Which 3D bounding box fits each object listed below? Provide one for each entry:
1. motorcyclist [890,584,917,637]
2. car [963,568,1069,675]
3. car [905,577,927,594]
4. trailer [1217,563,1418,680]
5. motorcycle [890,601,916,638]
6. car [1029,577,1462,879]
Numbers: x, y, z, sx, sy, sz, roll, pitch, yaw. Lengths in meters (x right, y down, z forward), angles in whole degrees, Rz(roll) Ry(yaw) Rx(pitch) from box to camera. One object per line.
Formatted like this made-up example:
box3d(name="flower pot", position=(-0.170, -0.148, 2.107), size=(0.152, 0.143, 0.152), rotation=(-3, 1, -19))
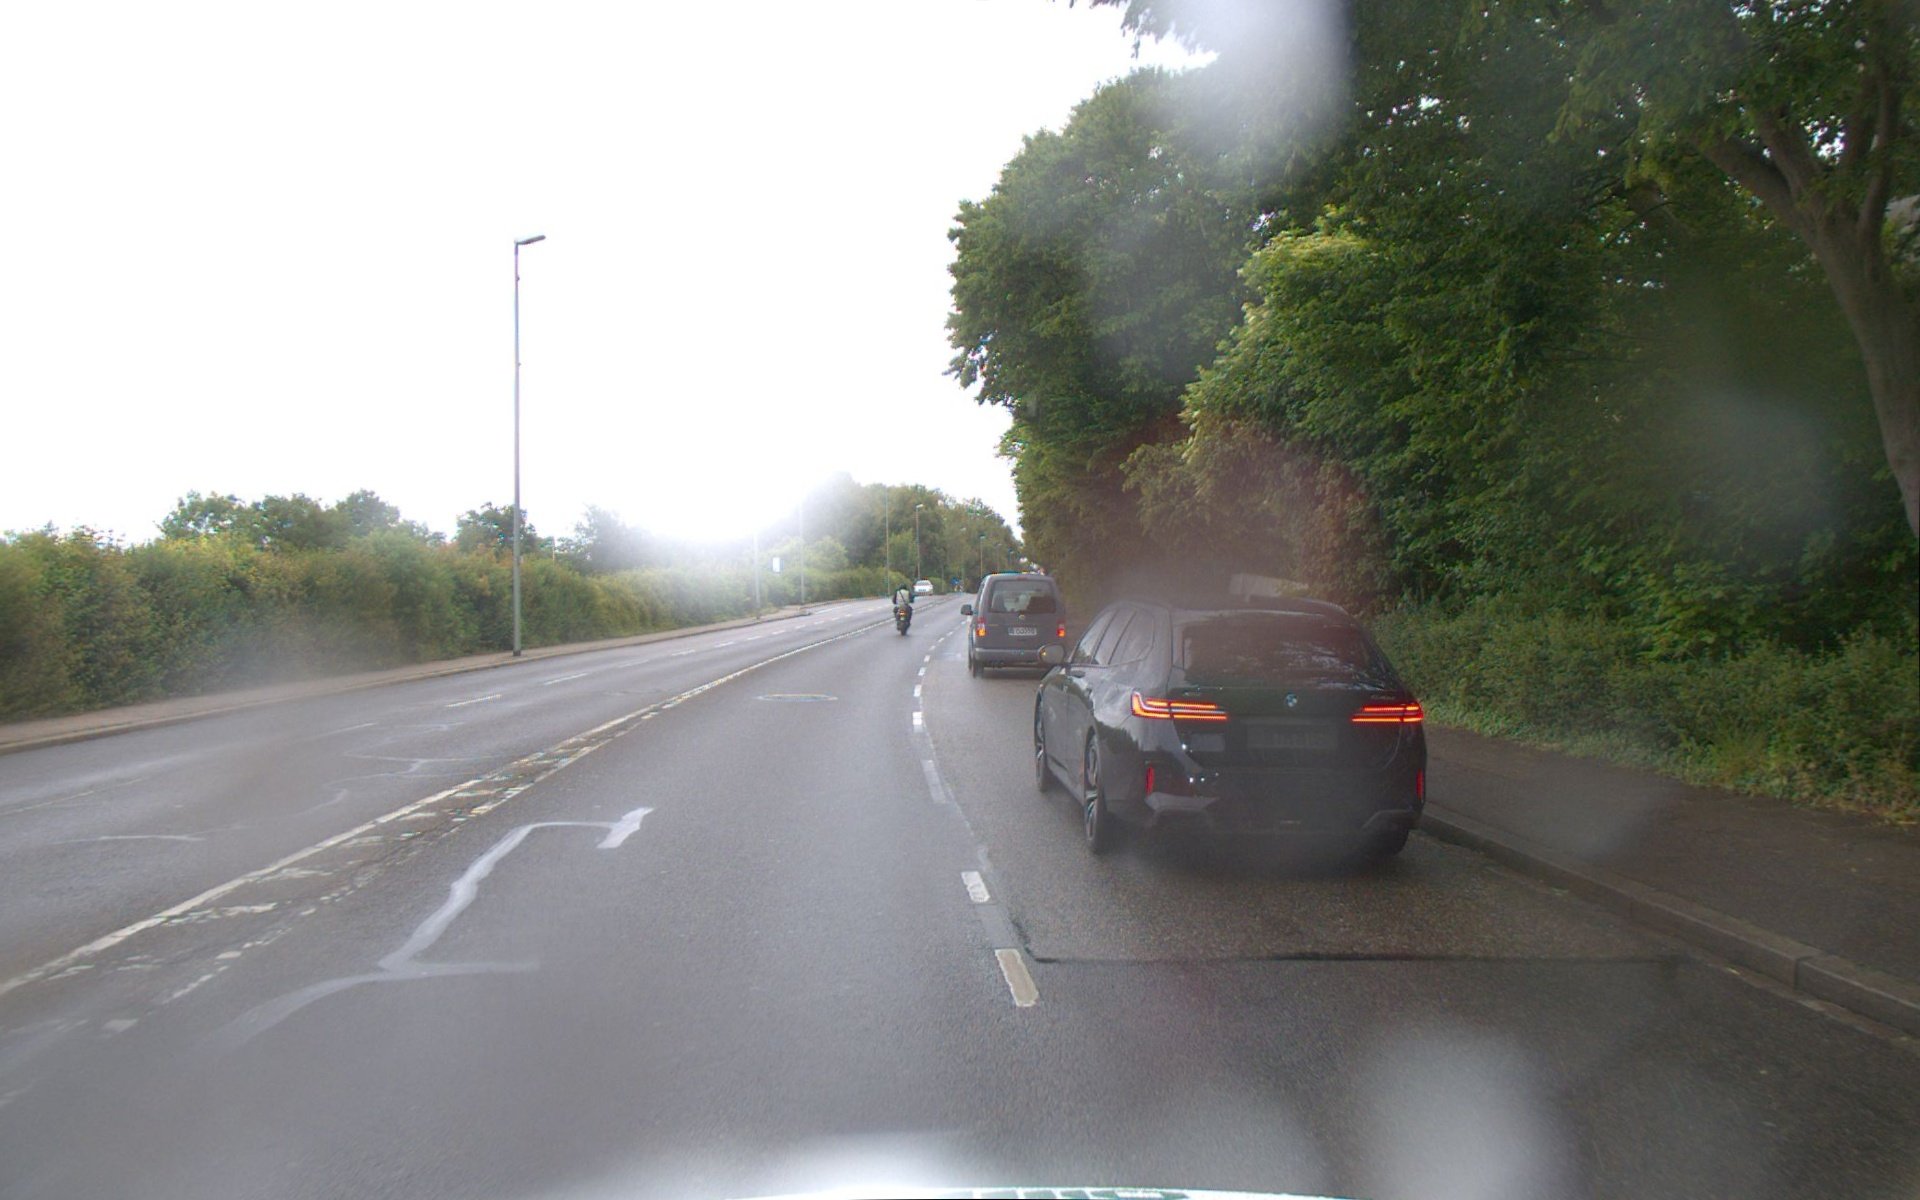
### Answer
box3d(name="motorcyclist", position=(-1.825, 0.329, 53.524), size=(0.827, 1.675, 0.468), rotation=(0, 2, 2))
box3d(name="car", position=(0.981, 0.338, 30.726), size=(1.731, 1.841, 3.904), rotation=(-1, 1, -1))
box3d(name="car", position=(-4.389, -1.476, 165.447), size=(1.717, 1.691, 3.846), rotation=(0, 1, -9))
box3d(name="trailer", position=(6.564, 0.378, 30.538), size=(3.282, 1.675, 1.198), rotation=(8, 1, -1))
box3d(name="motorcycle", position=(-1.830, 0.617, 53.552), size=(0.726, 1.139, 1.427), rotation=(0, 2, 2))
box3d(name="car", position=(1.587, 0.670, 10.497), size=(1.730, 1.563, 3.668), rotation=(1, 0, -7))
